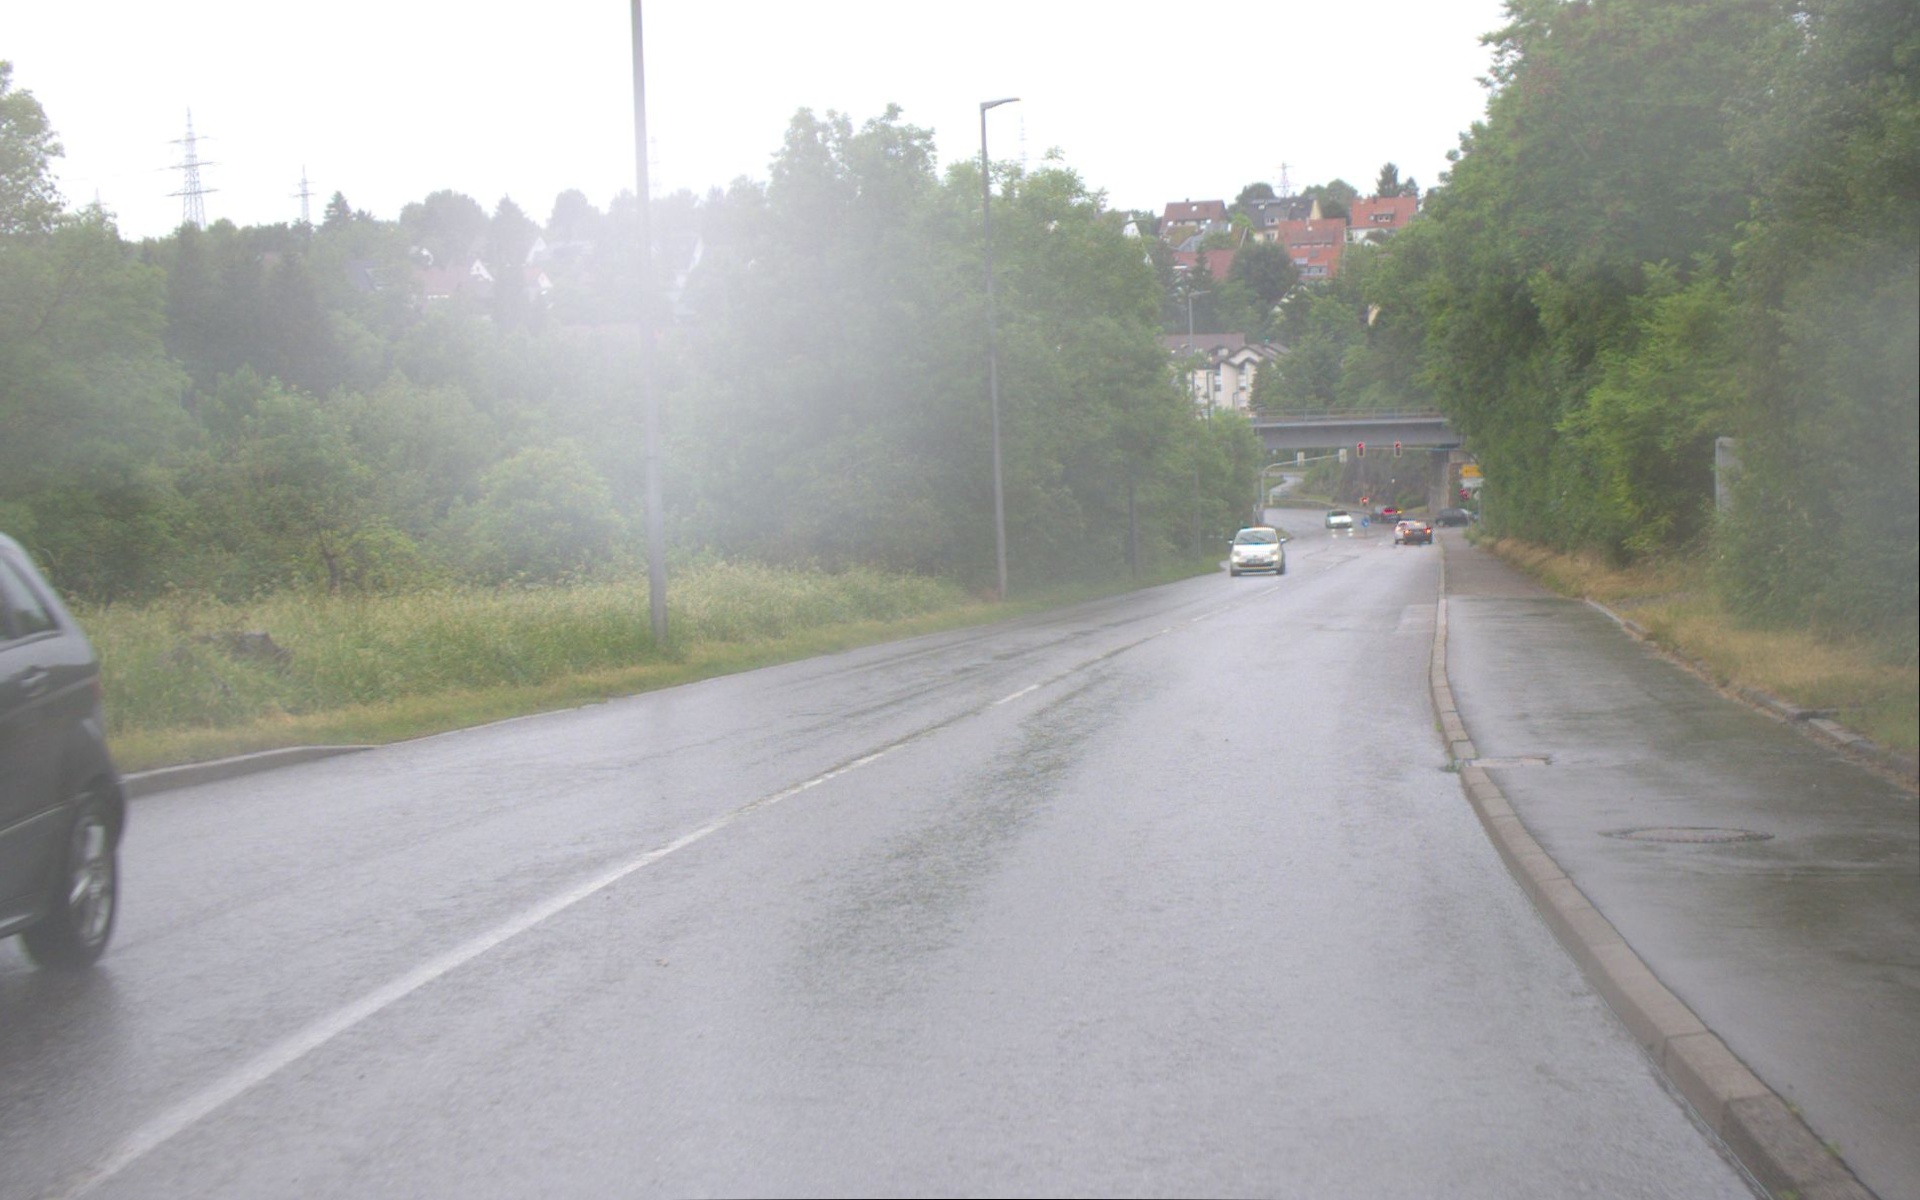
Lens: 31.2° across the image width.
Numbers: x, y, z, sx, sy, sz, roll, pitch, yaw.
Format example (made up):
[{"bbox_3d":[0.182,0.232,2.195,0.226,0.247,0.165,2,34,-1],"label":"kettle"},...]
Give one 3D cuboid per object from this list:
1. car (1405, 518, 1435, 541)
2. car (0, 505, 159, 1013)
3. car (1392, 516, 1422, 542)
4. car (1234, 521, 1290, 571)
[{"bbox_3d":[28.961,-4.428,216.373,1.769,1.375,3.999,-3,1,9],"label":"car"},{"bbox_3d":[-3.878,0.487,10.027,1.864,1.546,4.266,0,1,3],"label":"car"},{"bbox_3d":[28.994,-4.581,222.987,1.769,1.557,3.999,-3,1,9],"label":"car"},{"bbox_3d":[9.451,-1.689,107.788,1.639,1.483,3.454,-3,1,4],"label":"car"}]
